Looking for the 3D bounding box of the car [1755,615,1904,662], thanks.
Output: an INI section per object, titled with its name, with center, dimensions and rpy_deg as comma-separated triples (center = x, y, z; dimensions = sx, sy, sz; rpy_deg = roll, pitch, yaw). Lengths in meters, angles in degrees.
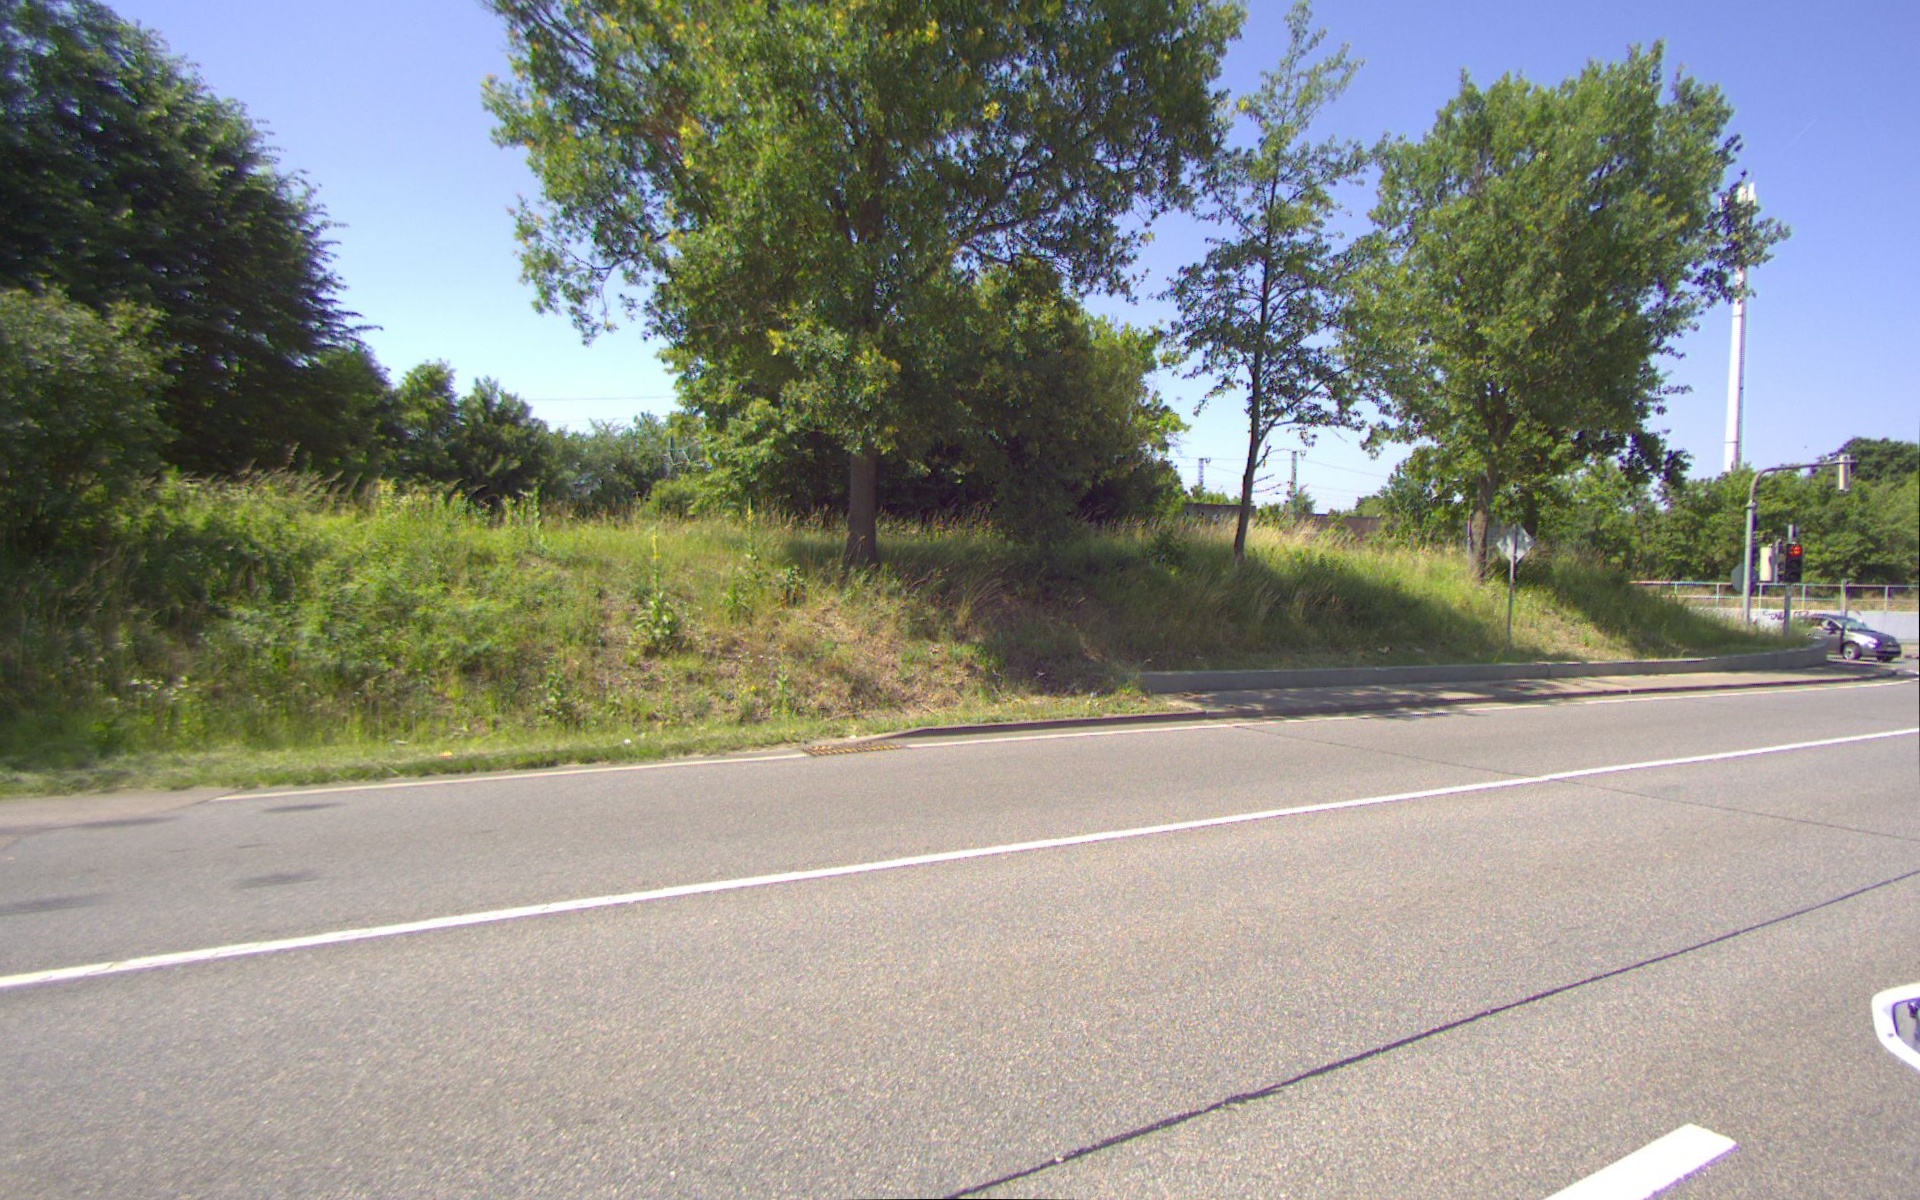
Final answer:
[car]
center = 29.828, 1.280, 34.566
dimensions = 1.567, 1.489, 3.586
rpy_deg = 1, 0, -18
